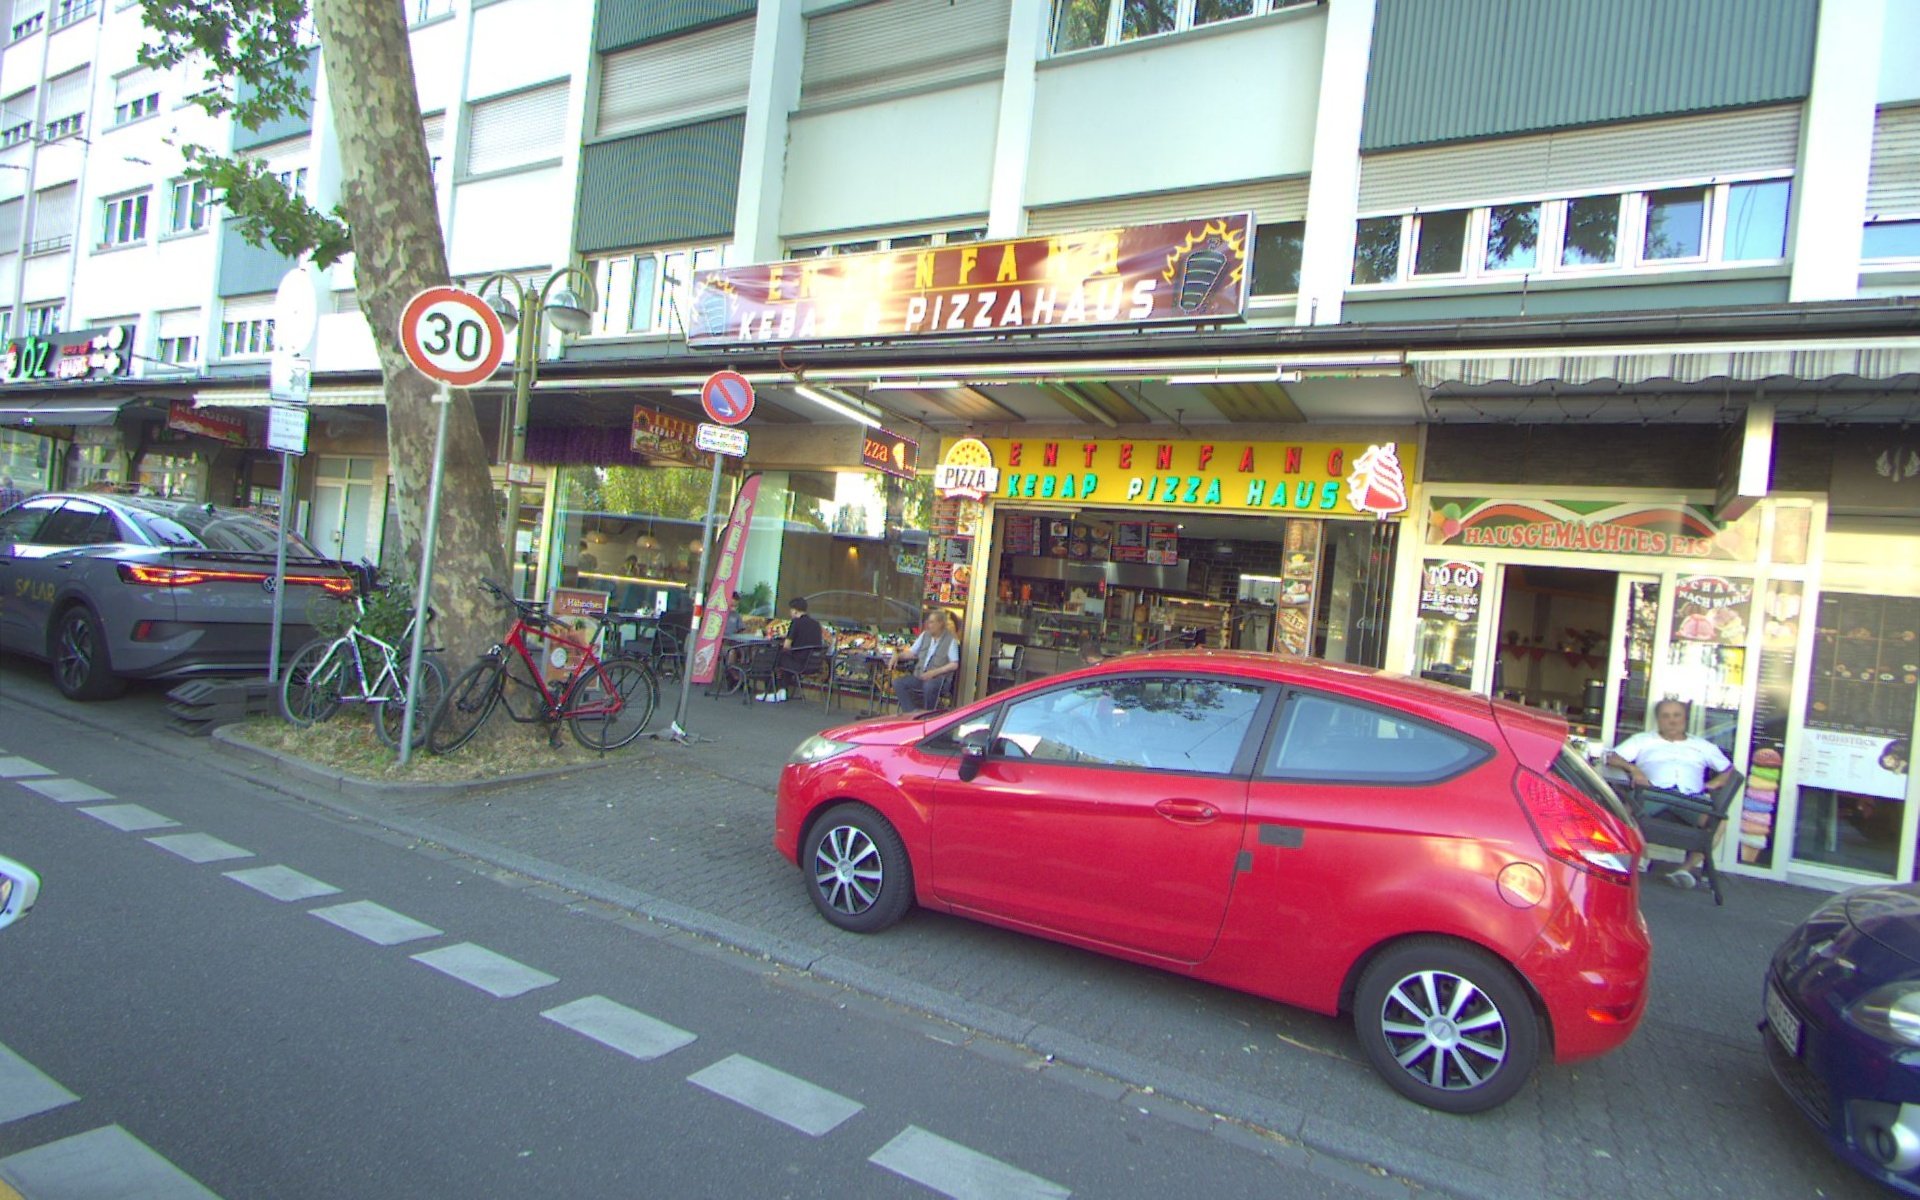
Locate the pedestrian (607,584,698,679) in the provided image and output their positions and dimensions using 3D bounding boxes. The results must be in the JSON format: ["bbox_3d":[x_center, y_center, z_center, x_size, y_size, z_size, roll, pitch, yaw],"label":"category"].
[{"bbox_3d":[-3.976,0.399,13.049,0.940,1.094,0.639,7,0,-9],"label":"pedestrian"}]

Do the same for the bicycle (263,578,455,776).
[{"bbox_3d":[-4.230,0.503,7.049,1.421,1.169,0.553,6,0,36],"label":"bicycle"}]

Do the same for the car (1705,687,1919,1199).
[{"bbox_3d":[4.392,1.265,2.650,3.549,1.488,1.767,6,3,29],"label":"car"}]

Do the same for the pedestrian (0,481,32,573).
[{"bbox_3d":[-17.945,-1.383,18.906,0.661,1.688,0.593,4,2,-42],"label":"pedestrian"}]

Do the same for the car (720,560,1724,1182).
[{"bbox_3d":[0.972,0.812,4.719,3.757,1.617,1.783,6,3,28],"label":"car"}]

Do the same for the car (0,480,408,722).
[{"bbox_3d":[-7.322,-0.120,9.050,4.292,1.603,1.996,7,2,27],"label":"car"}]

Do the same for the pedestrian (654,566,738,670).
[{"bbox_3d":[-3.763,0.255,14.422,0.958,1.350,0.830,6,0,-9],"label":"pedestrian"}]

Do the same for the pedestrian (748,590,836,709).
[{"bbox_3d":[-1.915,0.559,11.486,0.679,1.261,0.558,7,2,33],"label":"pedestrian"}]

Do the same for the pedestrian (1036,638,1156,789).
[{"bbox_3d":[1.252,1.011,9.215,0.798,1.225,0.654,7,2,28],"label":"pedestrian"}]

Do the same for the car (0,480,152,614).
[{"bbox_3d":[-13.529,-0.863,13.955,4.292,1.603,1.996,7,2,27],"label":"car"}]

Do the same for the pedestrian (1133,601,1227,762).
[{"bbox_3d":[2.313,0.845,10.536,0.589,1.566,0.700,7,0,34],"label":"pedestrian"}]

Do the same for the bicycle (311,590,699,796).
[{"bbox_3d":[-3.009,0.556,6.910,0.547,1.171,2.377,7,4,44],"label":"bicycle"}]

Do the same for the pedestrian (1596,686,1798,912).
[{"bbox_3d":[5.243,1.357,7.258,0.937,1.352,1.069,7,0,30],"label":"pedestrian"}]

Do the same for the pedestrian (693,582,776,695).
[{"bbox_3d":[-2.691,0.458,12.018,0.680,1.261,0.557,7,2,38],"label":"pedestrian"}]

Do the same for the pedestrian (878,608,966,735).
[{"bbox_3d":[-0.399,0.747,10.686,0.550,1.252,0.689,7,2,29],"label":"pedestrian"}]
